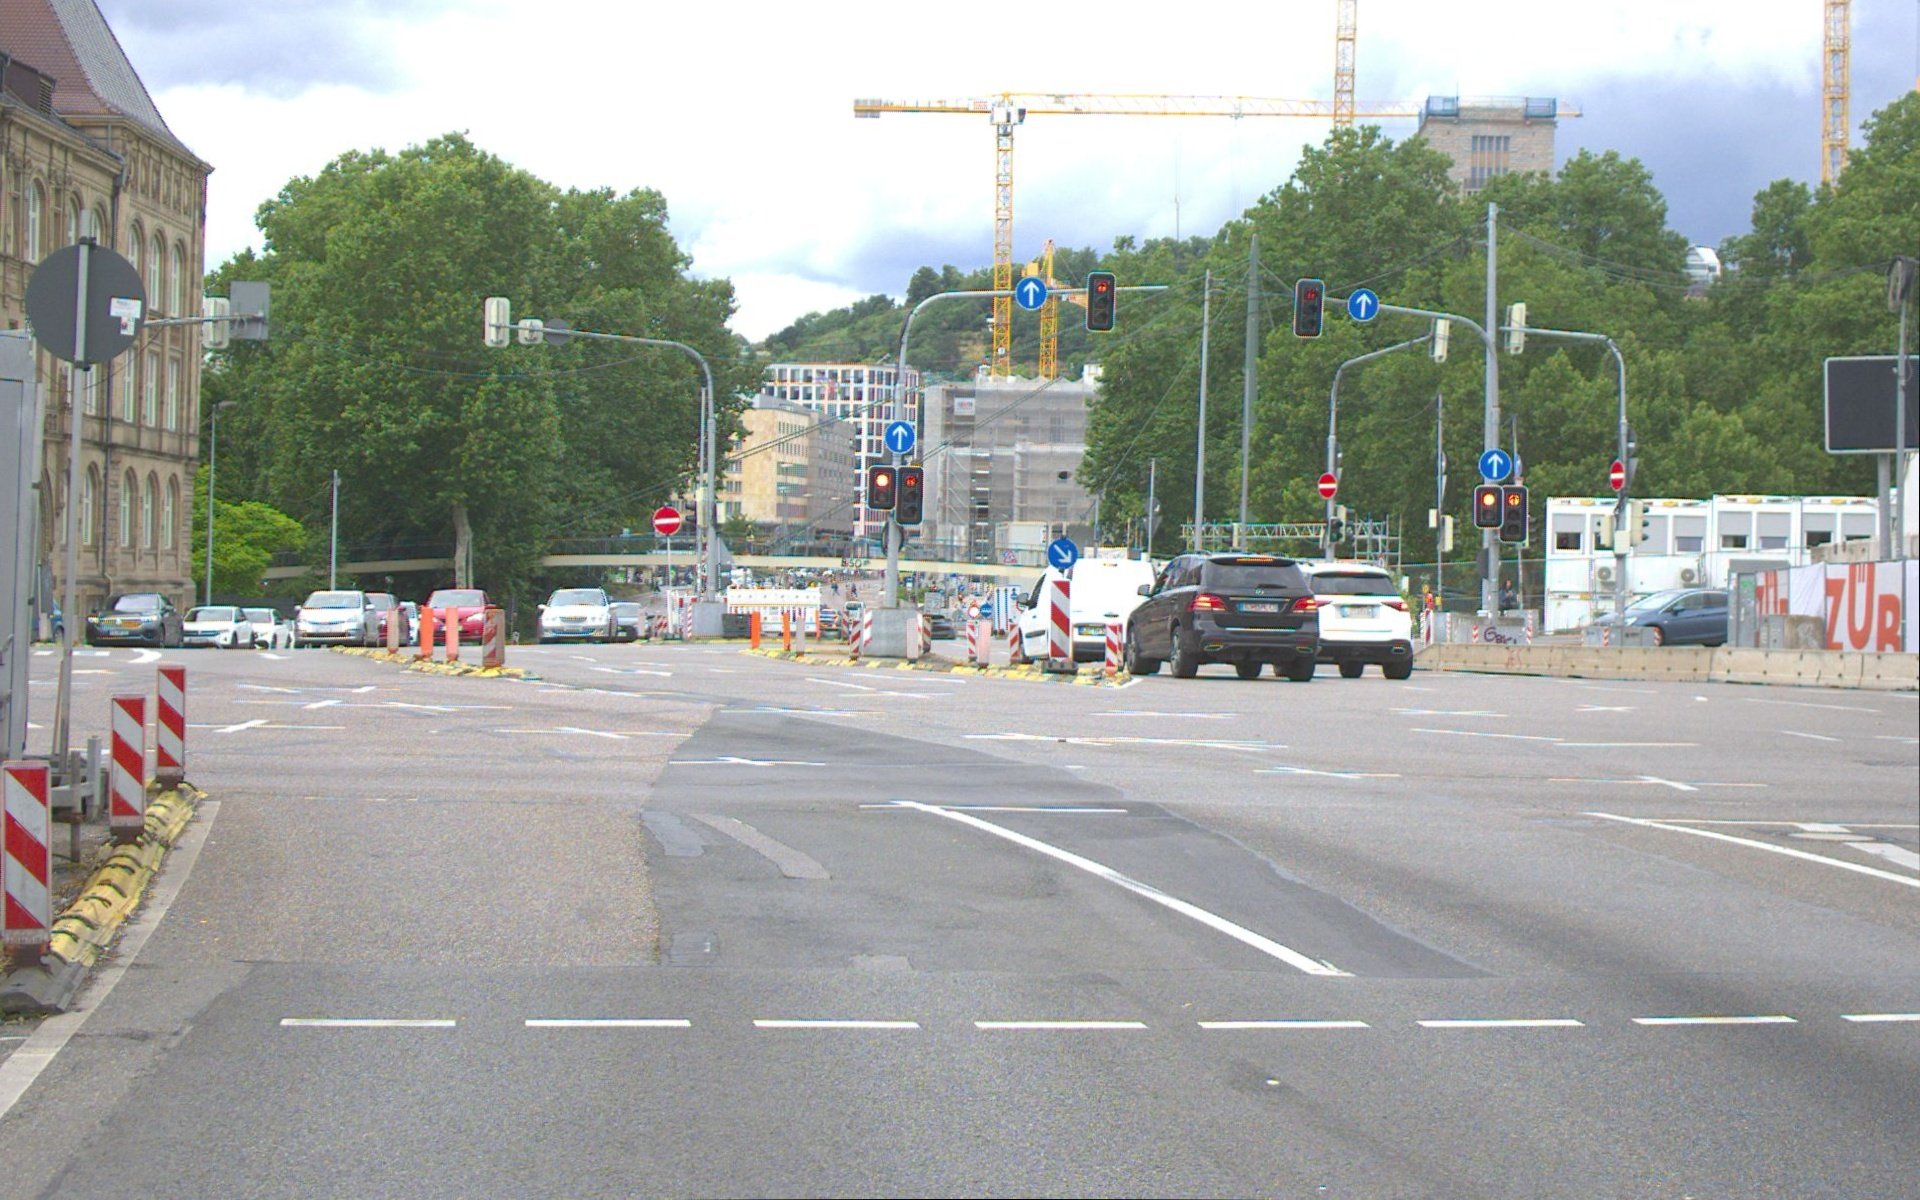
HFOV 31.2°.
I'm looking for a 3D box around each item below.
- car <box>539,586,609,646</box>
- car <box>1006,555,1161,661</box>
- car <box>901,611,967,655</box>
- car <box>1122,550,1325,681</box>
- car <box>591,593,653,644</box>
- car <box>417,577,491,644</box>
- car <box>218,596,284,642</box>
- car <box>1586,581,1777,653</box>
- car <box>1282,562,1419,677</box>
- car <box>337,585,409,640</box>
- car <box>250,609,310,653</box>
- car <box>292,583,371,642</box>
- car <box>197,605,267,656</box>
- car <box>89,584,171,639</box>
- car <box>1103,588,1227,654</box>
[{"bbox_3d":[-9.559,0.376,85.103,1.675,1.393,3.684,1,1,-7],"label":"car"},{"bbox_3d":[1.954,0.102,55.539,1.816,1.619,4.001,1,1,-8],"label":"car"},{"bbox_3d":[-0.896,1.095,115.809,1.675,1.393,3.684,1,1,-9],"label":"car"},{"bbox_3d":[3.663,0.187,48.493,1.831,1.740,4.257,1,1,-10],"label":"car"},{"bbox_3d":[-9.693,0.513,98.442,1.675,1.393,3.684,1,1,-7],"label":"car"},{"bbox_3d":[-12.443,0.249,84.733,1.675,1.575,3.684,1,1,-7],"label":"car"},{"bbox_3d":[-22.380,0.608,108.569,1.675,1.393,3.683,1,0,-6],"label":"car"},{"bbox_3d":[16.834,0.393,80.246,3.986,1.619,1.823,1,1,-19],"label":"car"},{"bbox_3d":[5.989,0.269,53.059,1.676,1.696,3.374,1,1,-1],"label":"car"},{"bbox_3d":[-15.657,0.324,91.805,1.675,1.393,3.684,1,1,-7],"label":"car"},{"bbox_3d":[-22.886,1.027,115.739,1.675,1.393,3.684,1,1,-7],"label":"car"},{"bbox_3d":[-15.638,0.285,85.643,1.675,1.393,3.684,1,1,-7],"label":"car"},{"bbox_3d":[-21.488,0.886,101.549,1.675,1.393,3.684,1,1,-7],"label":"car"},{"bbox_3d":[-22.136,0.286,91.750,1.675,1.393,3.684,1,1,-7],"label":"car"},{"bbox_3d":[4.509,0.452,76.001,1.675,1.393,3.087,1,1,-19],"label":"car"}]
